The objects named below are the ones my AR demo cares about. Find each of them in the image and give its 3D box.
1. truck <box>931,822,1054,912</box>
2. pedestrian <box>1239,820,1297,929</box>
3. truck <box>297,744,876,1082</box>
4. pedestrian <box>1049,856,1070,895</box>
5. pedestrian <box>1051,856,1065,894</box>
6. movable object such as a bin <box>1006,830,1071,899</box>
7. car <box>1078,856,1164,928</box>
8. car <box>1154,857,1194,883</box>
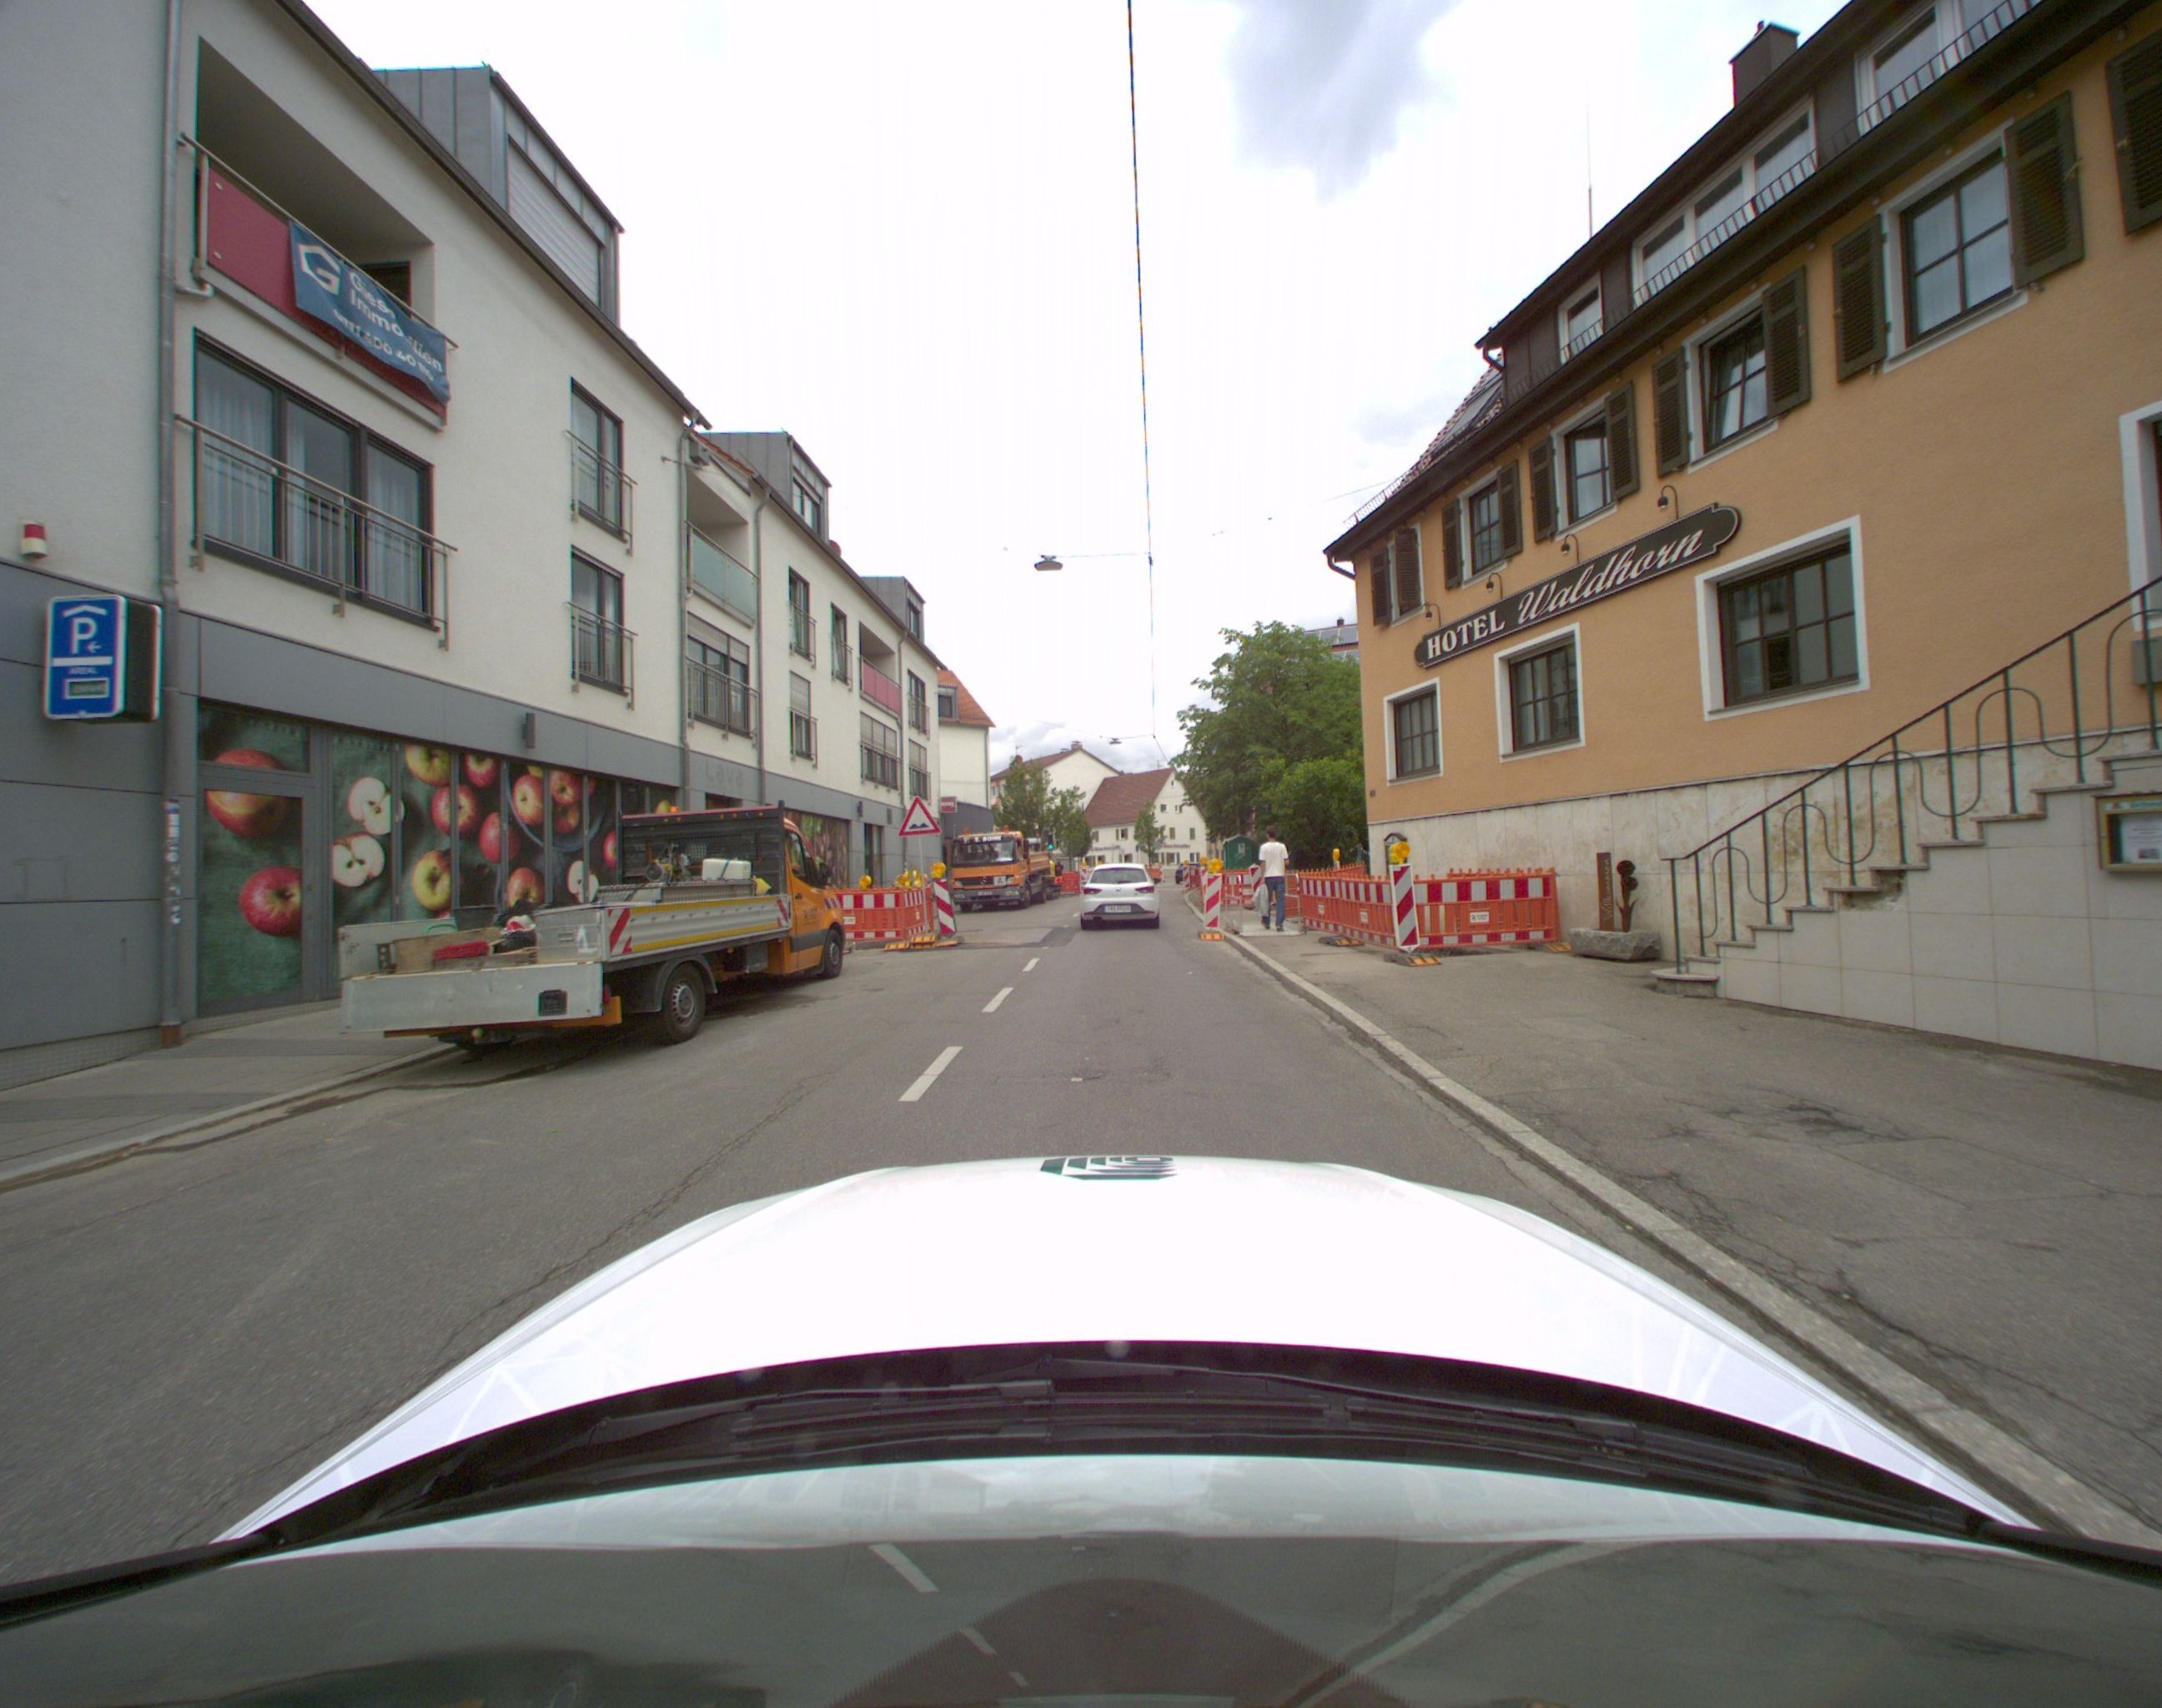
[{"bbox_3d":[-2.904,0.425,28.966,2.717,2.725,6.861,-2,0,7],"label":"truck"},{"bbox_3d":[3.461,0.371,15.136,0.795,1.950,0.836,-3,0,1],"label":"pedestrian"},{"bbox_3d":[-4.584,0.452,9.354,2.403,2.466,6.313,-3,0,3],"label":"truck"},{"bbox_3d":[-1.025,1.005,38.524,0.809,1.816,0.745,-2,-1,10],"label":"pedestrian"},{"bbox_3d":[-1.080,0.980,38.517,0.534,1.744,0.445,-2,-1,10],"label":"pedestrian"},{"bbox_3d":[-1.765,0.481,35.452,1.828,2.764,4.516,-2,-2,9],"label":"movable object such as a bin"},{"bbox_3d":[0.959,0.811,19.086,1.804,1.481,3.874,-1,0,3],"label":"car"},{"bbox_3d":[5.931,0.993,51.759,1.797,1.481,3.887,-3,0,16],"label":"car"}]
